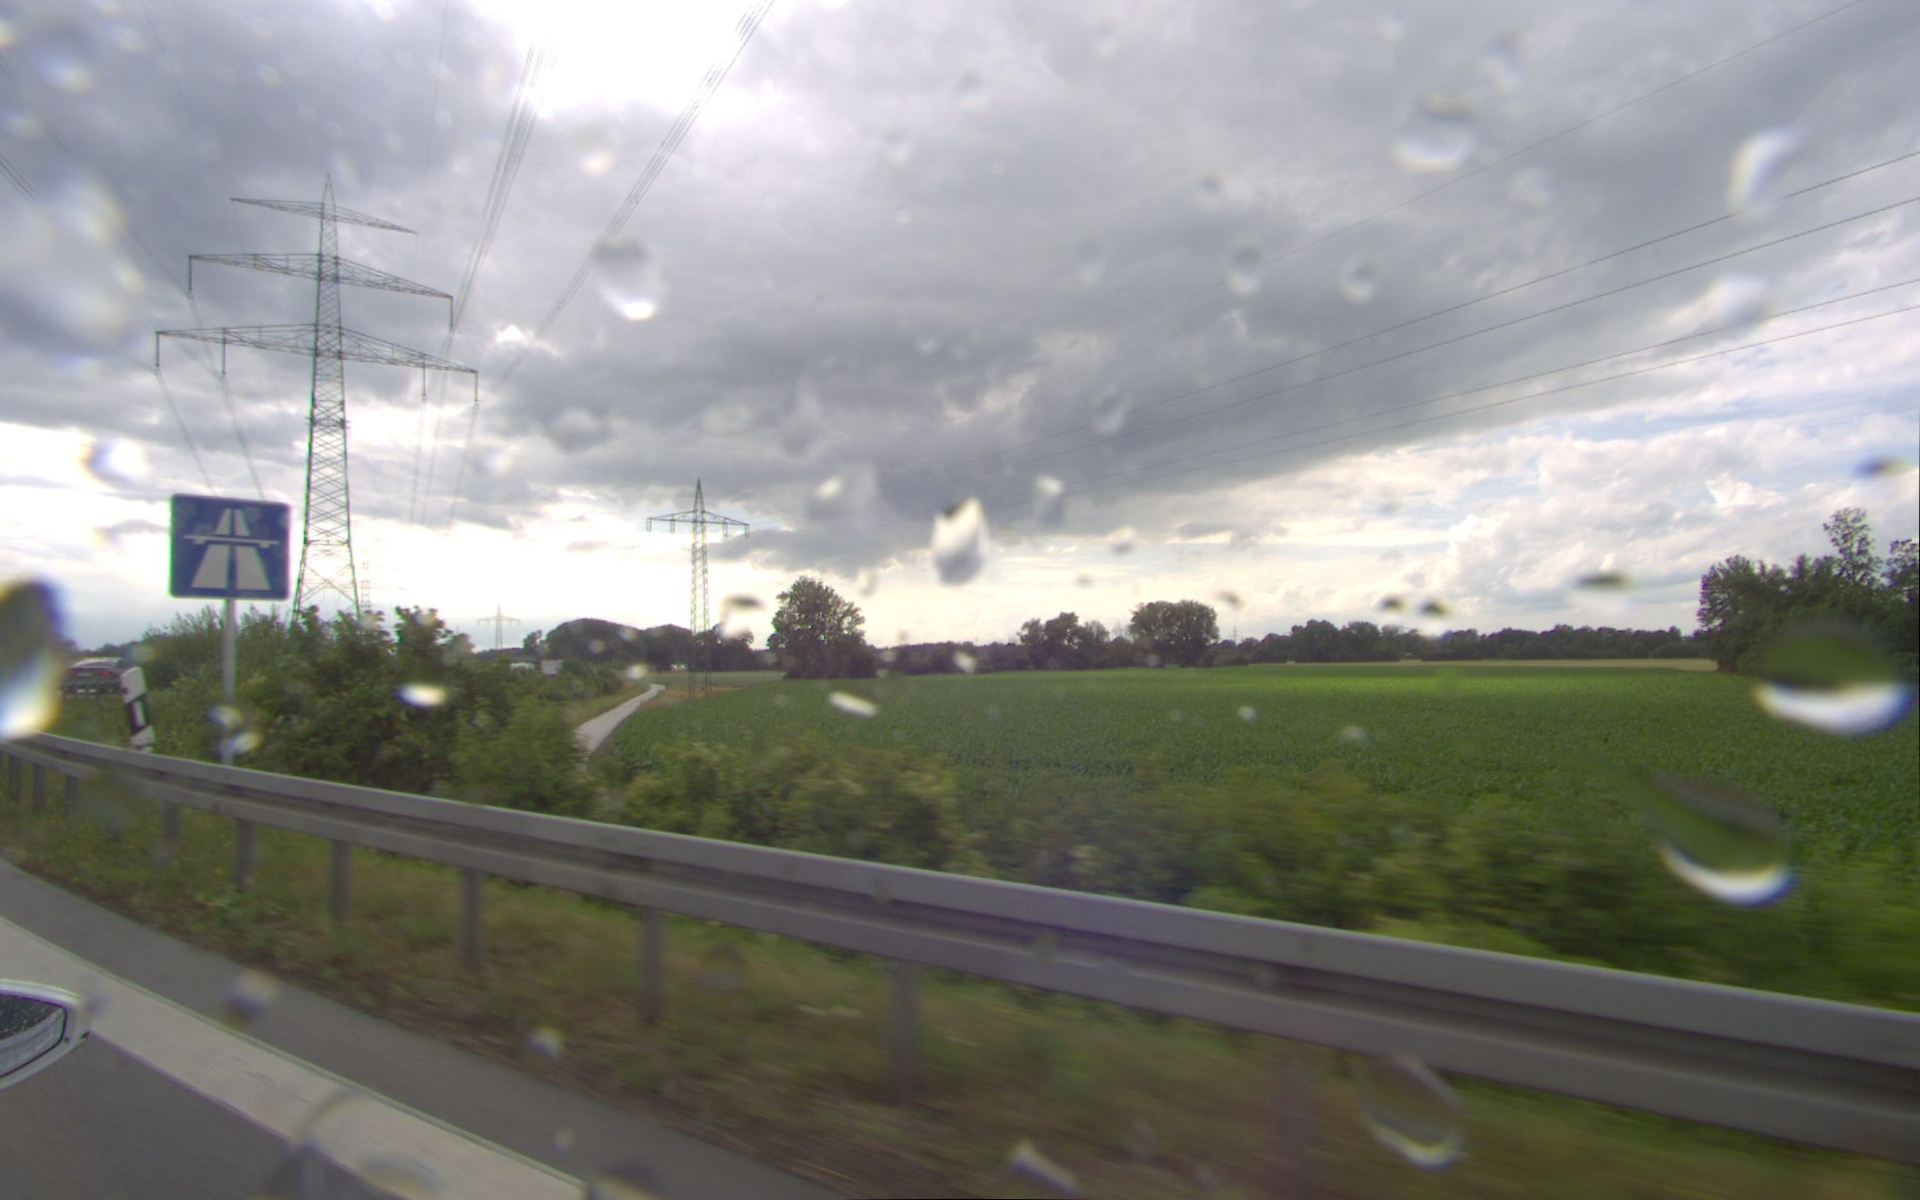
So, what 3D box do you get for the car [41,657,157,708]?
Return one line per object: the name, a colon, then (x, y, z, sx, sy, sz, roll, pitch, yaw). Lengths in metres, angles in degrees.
car: (-37.547, 3.592, 43.848, 2.093, 2.042, 5.524, 0, -4, -21)
